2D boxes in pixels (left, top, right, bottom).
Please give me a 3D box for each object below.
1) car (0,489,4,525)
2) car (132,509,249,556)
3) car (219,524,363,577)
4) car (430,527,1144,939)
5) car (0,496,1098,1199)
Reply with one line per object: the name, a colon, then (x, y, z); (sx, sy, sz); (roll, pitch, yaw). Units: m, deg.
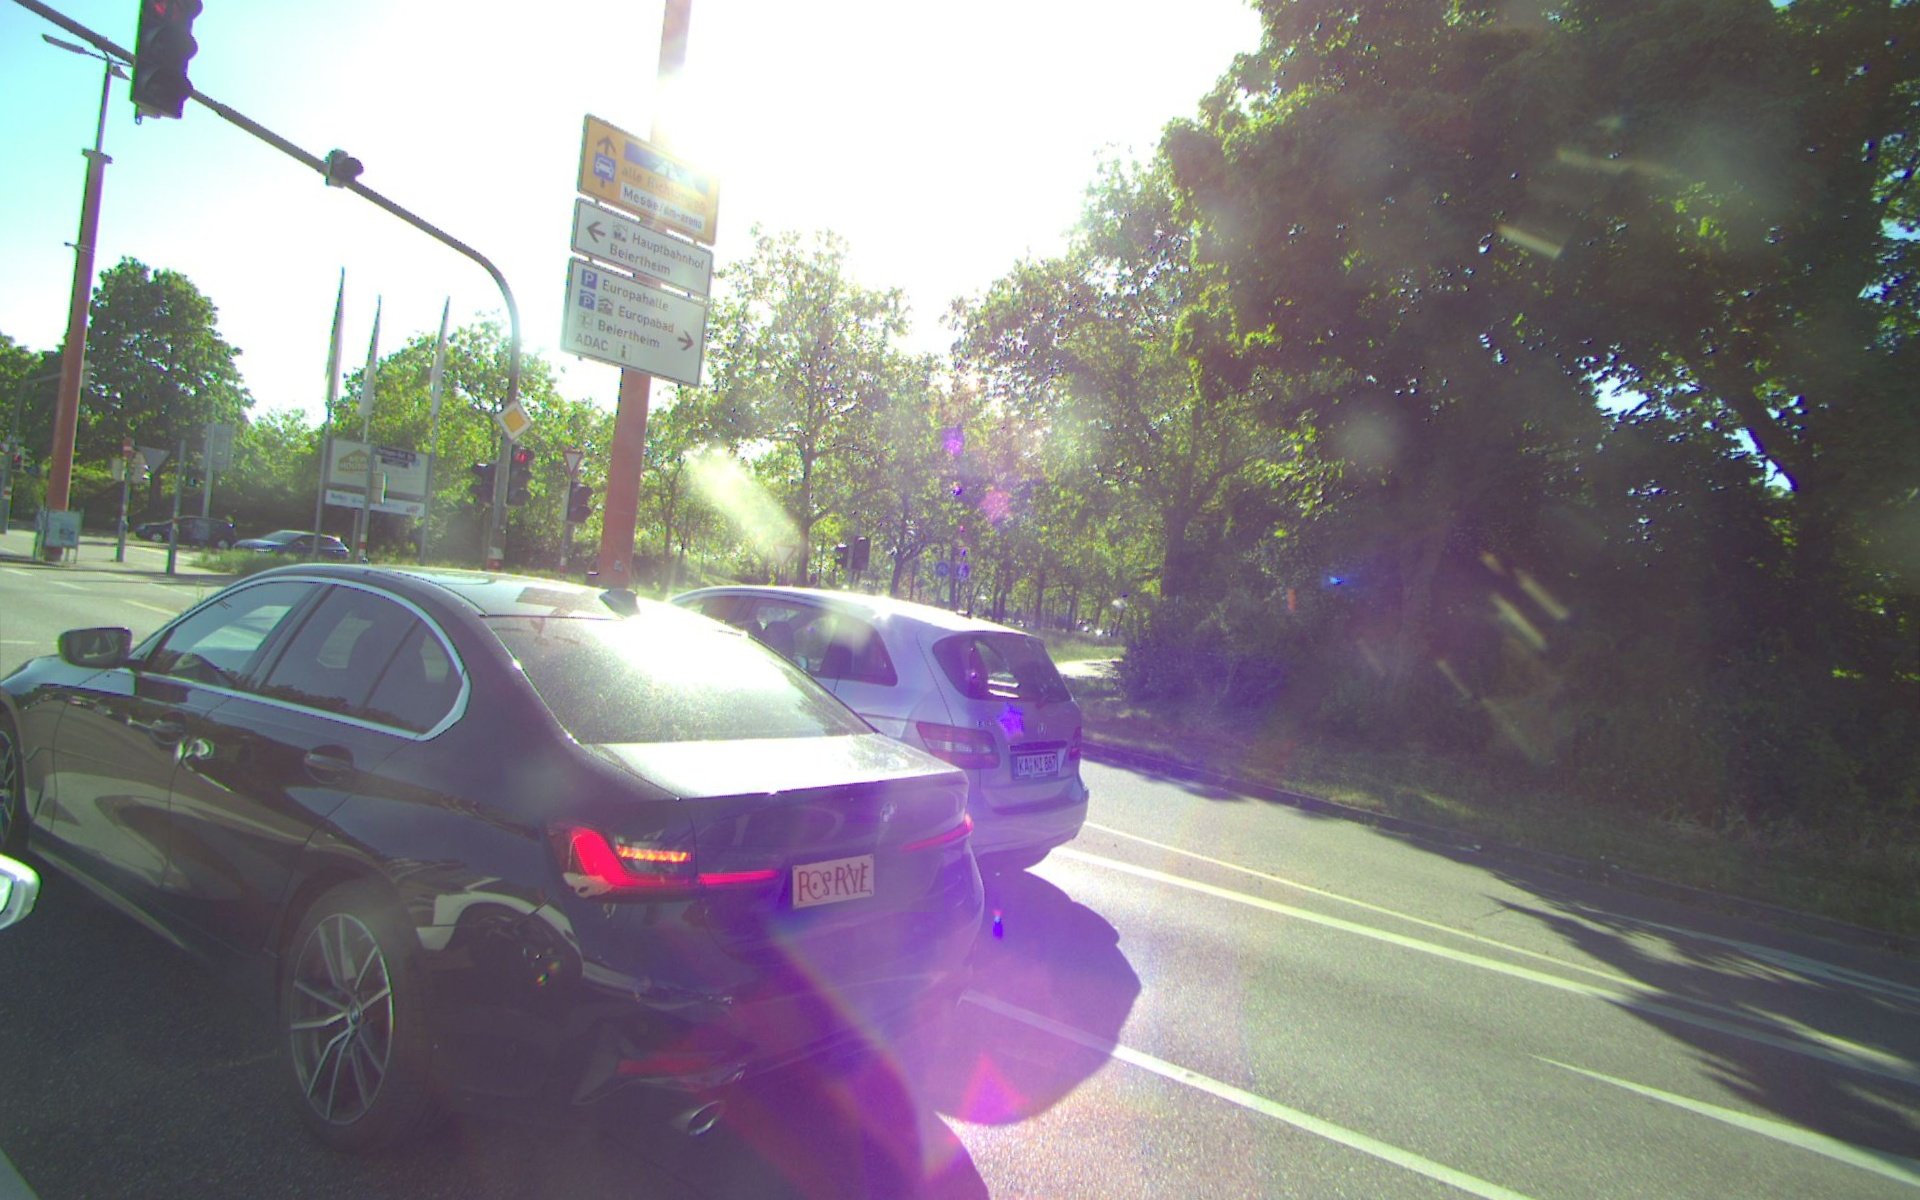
car: (-44.640, -4.400, 43.258); (4.516, 1.592, 2.157); (7, 0, -19)
car: (-36.508, -3.184, 47.819); (4.247, 1.592, 2.143); (8, -1, -39)
car: (-25.102, -1.814, 37.919); (1.848, 1.445, 4.283); (7, -1, 14)
car: (-1.280, 0.640, 6.789); (4.403, 1.706, 1.970); (7, -1, 32)
car: (-1.958, 0.529, 3.881); (4.403, 1.411, 1.996); (7, 0, 32)
